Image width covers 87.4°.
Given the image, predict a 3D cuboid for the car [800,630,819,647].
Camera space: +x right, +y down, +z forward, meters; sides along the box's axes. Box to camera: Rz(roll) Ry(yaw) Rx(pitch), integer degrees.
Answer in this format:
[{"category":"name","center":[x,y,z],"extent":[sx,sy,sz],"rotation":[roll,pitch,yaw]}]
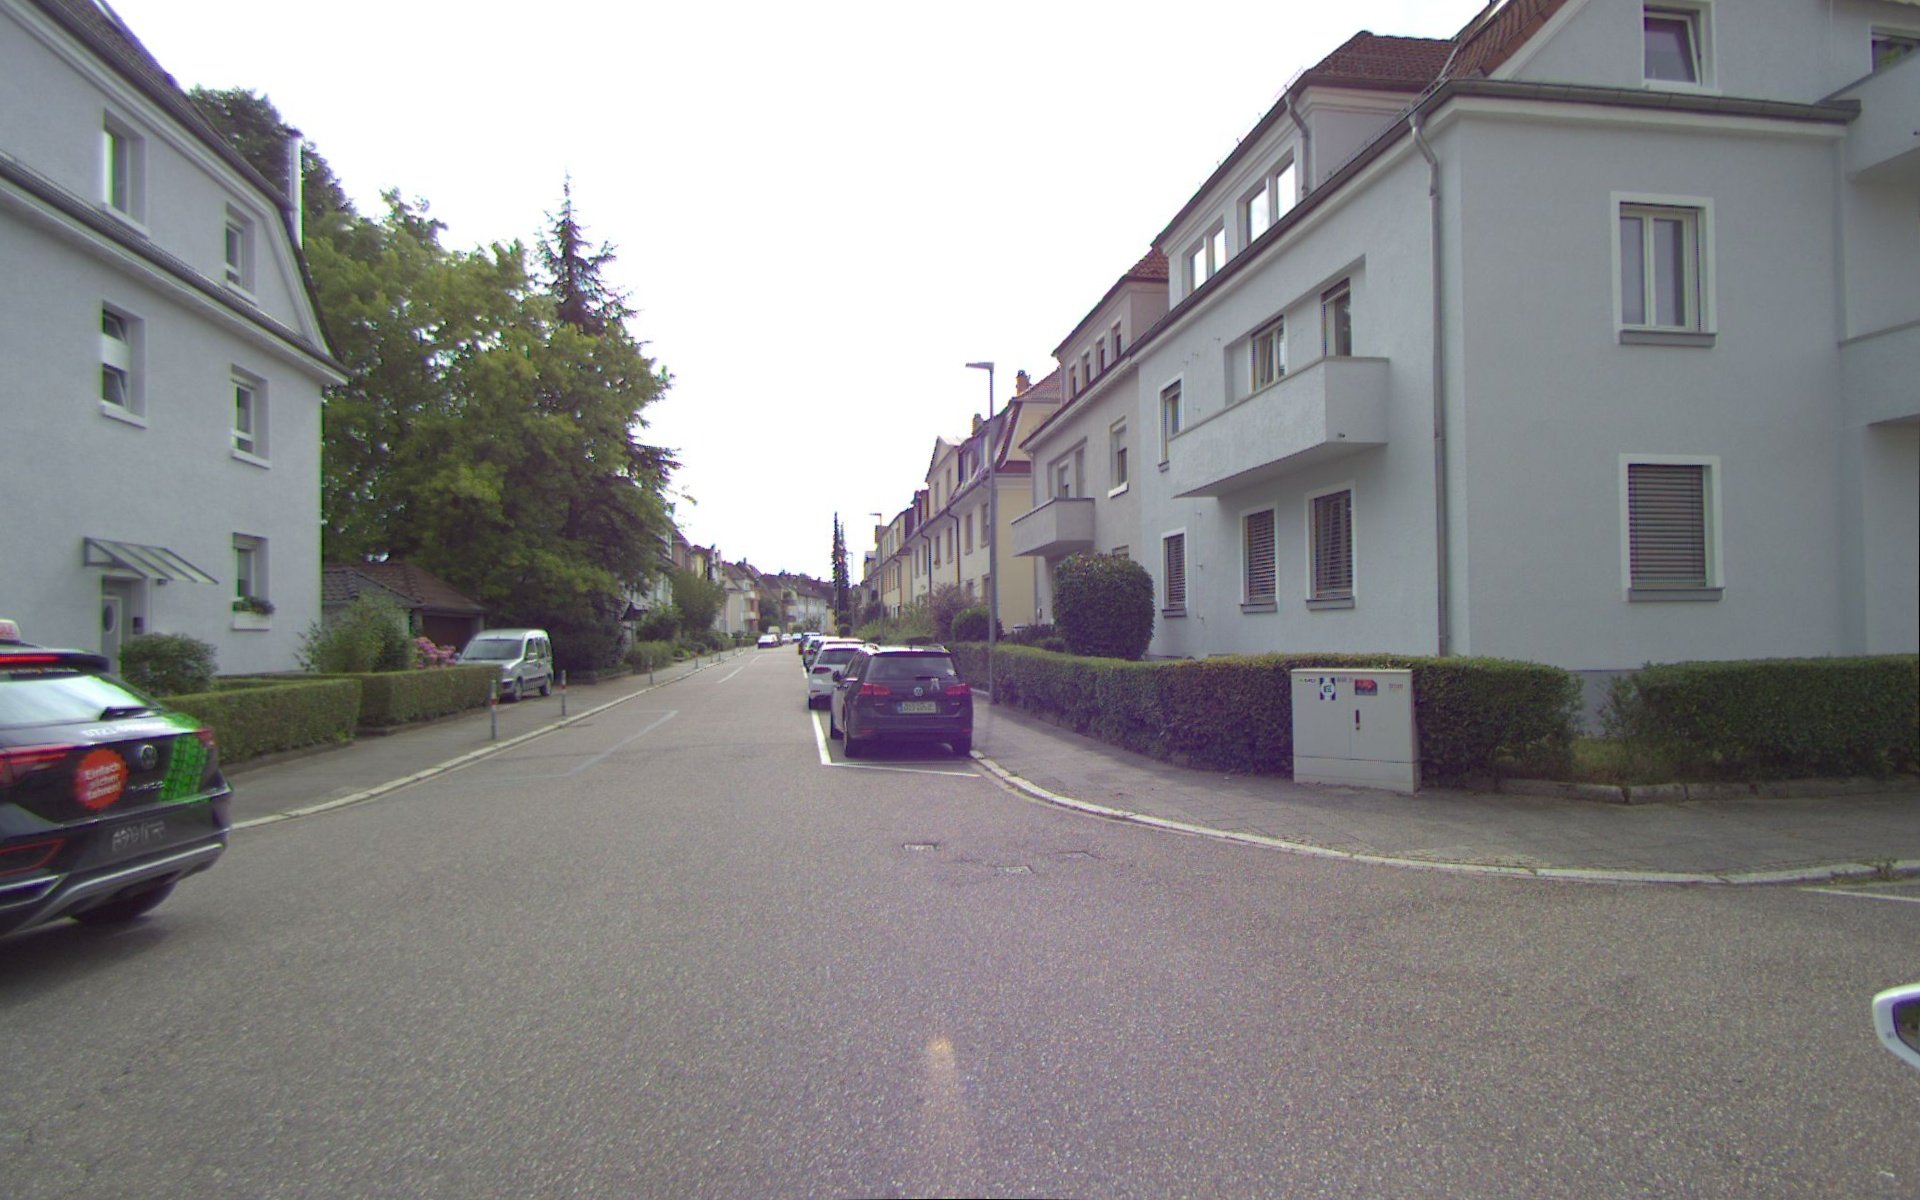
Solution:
[{"category":"car","center":[-14.836,3.748,98.733],"extent":[1.826,1.598,4.169],"rotation":[0,-2,-9]}]

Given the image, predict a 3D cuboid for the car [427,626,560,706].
[{"category":"car","center":[-11.748,1.604,25.581],"extent":[1.963,1.862,3.996],"rotation":[0,-2,-8]}]

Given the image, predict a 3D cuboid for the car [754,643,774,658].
[{"category":"car","center":[-22.955,5.870,117.911],"extent":[1.962,1.661,3.997],"rotation":[0,-2,-6]}]

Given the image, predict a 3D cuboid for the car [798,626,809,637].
[{"category":"car","center":[-31.549,6.397,202.787],"extent":[1.962,2.151,3.997],"rotation":[0,-2,-6]}]

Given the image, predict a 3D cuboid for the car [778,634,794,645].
[{"category":"car","center":[-25.416,5.748,146.911],"extent":[1.962,1.661,3.997],"rotation":[0,-2,-6]}]

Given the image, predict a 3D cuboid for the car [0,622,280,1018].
[{"category":"car","center":[-5.792,0.955,4.651],"extent":[3.966,1.540,1.821],"rotation":[-2,-2,-5]}]

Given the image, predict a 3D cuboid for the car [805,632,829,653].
[{"category":"car","center":[-11.365,3.370,79.837],"extent":[1.825,1.598,4.170],"rotation":[0,-2,-8]}]

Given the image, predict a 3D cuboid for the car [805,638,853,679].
[{"category":"car","center":[-5.310,2.328,40.663],"extent":[1.825,1.491,4.170],"rotation":[0,-2,-8]}]

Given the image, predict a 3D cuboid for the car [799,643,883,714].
[{"category":"car","center":[-2.889,1.810,24.140],"extent":[1.825,1.491,4.170],"rotation":[0,-2,-8]}]

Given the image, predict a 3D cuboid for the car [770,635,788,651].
[{"category":"car","center":[-23.434,5.594,130.163],"extent":[1.963,2.040,3.996],"rotation":[0,-2,-7]}]

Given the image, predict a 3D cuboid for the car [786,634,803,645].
[{"category":"car","center":[-26.461,6.325,160.809],"extent":[1.961,1.556,4.000],"rotation":[-2,-1,-1]}]

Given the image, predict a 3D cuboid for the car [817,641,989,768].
[{"category":"car","center":[-0.979,1.366,14.515],"extent":[1.827,1.491,4.166],"rotation":[0,-2,-13]}]

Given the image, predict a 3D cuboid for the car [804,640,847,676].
[{"category":"car","center":[-6.137,2.596,45.797],"extent":[1.825,1.491,4.170],"rotation":[0,-2,-8]}]
